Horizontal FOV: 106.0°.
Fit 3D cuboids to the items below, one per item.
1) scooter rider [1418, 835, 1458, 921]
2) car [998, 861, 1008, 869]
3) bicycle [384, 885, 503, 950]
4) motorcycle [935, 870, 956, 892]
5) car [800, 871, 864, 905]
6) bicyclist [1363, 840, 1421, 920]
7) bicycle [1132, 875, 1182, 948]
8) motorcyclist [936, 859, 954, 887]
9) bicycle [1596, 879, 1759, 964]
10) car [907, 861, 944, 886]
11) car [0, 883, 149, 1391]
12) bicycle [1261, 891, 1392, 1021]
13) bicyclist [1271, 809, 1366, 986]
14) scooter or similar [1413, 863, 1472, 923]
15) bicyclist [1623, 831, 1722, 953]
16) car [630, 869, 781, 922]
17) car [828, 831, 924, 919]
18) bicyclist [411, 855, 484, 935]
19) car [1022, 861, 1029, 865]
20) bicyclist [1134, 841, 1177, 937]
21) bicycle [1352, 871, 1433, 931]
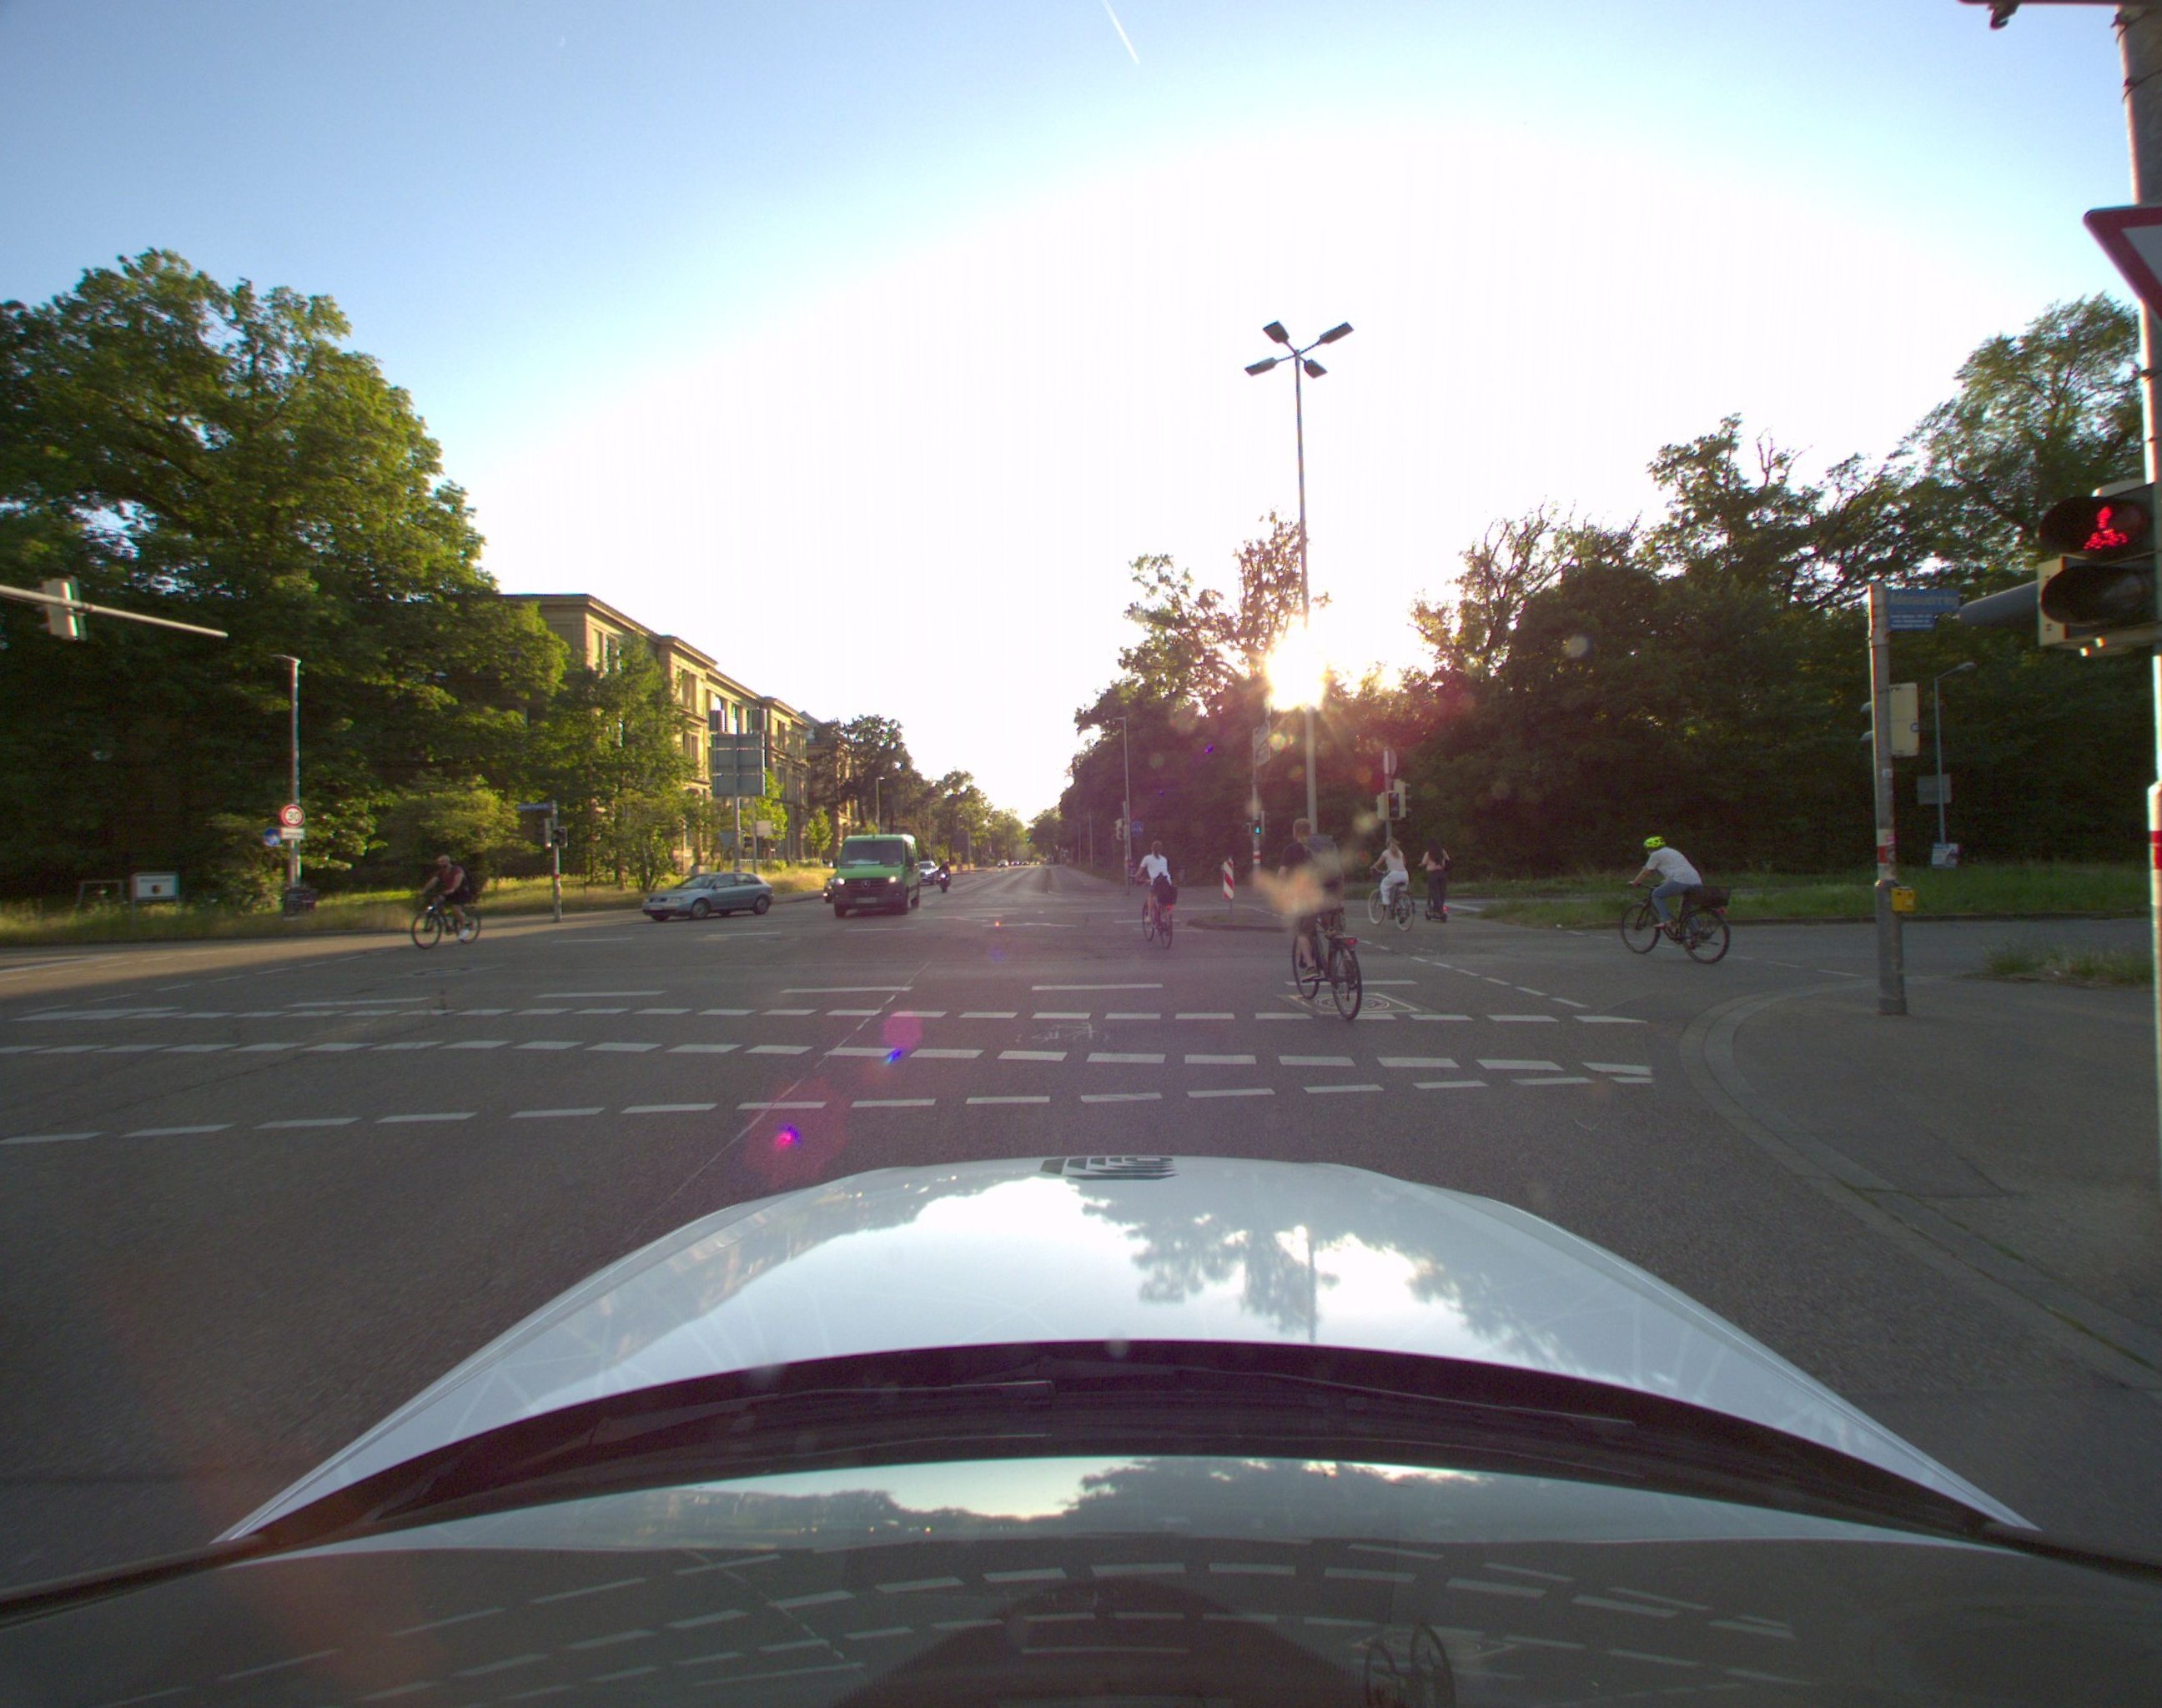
[{"bbox_3d":[7.515,0.494,17.135,0.564,1.767,0.505,-1,-1,-1],"label":"scooter rider"},{"bbox_3d":[-14.999,2.141,156.357,1.768,1.474,3.768,-1,0,-6],"label":"car"},{"bbox_3d":[-12.567,1.215,16.156,0.684,1.123,2.167,-2,-1,-2],"label":"bicycle"},{"bbox_3d":[-6.802,1.339,40.899,0.752,1.001,1.877,-2,-1,-2],"label":"motorcycle"},{"bbox_3d":[-10.913,1.452,35.955,1.760,1.328,3.640,-2,0,-2],"label":"car"},{"bbox_3d":[6.068,0.492,15.922,0.757,1.518,0.856,-1,-1,-2],"label":"bicyclist"},{"bbox_3d":[1.282,0.950,14.064,0.611,1.138,1.883,-1,0,-2],"label":"bicycle"},{"bbox_3d":[-6.811,0.947,40.816,0.747,1.358,0.703,-2,-1,-2],"label":"motorcyclist"},{"bbox_3d":[8.027,0.872,11.063,0.565,1.014,1.792,-1,-1,-17],"label":"bicycle"},{"bbox_3d":[-10.770,1.319,56.648,1.760,1.635,4.510,-2,0,-1],"label":"car"},{"bbox_3d":[-3.957,0.838,0.625,1.748,1.466,4.184,-2,0,-3],"label":"car"},{"bbox_3d":[2.351,0.936,8.036,0.696,1.063,1.824,0,-1,-1],"label":"bicycle"},{"bbox_3d":[2.344,0.412,8.119,0.696,1.667,0.798,0,-1,-2],"label":"bicyclist"},{"bbox_3d":[7.521,0.794,17.017,0.560,1.189,1.421,-1,-1,-1],"label":"scooter or similar"},{"bbox_3d":[8.014,0.500,11.065,0.555,1.569,0.893,-1,-1,-17],"label":"bicyclist"},{"bbox_3d":[-11.408,1.219,25.069,1.715,1.409,4.162,-2,0,22],"label":"car"},{"bbox_3d":[-6.039,0.584,24.725,2.037,2.278,5.926,-2,0,-7],"label":"car"},{"bbox_3d":[-12.579,0.796,16.192,0.681,1.512,0.955,-2,-1,-2],"label":"bicyclist"},{"bbox_3d":[-17.637,2.847,258.367,1.990,1.266,3.994,-1,0,-4],"label":"car"},{"bbox_3d":[1.267,0.577,13.951,0.602,1.586,0.909,-1,-1,-2],"label":"bicyclist"},{"bbox_3d":[6.069,0.885,15.978,0.769,1.007,2.015,-1,1,-1],"label":"bicycle"}]
